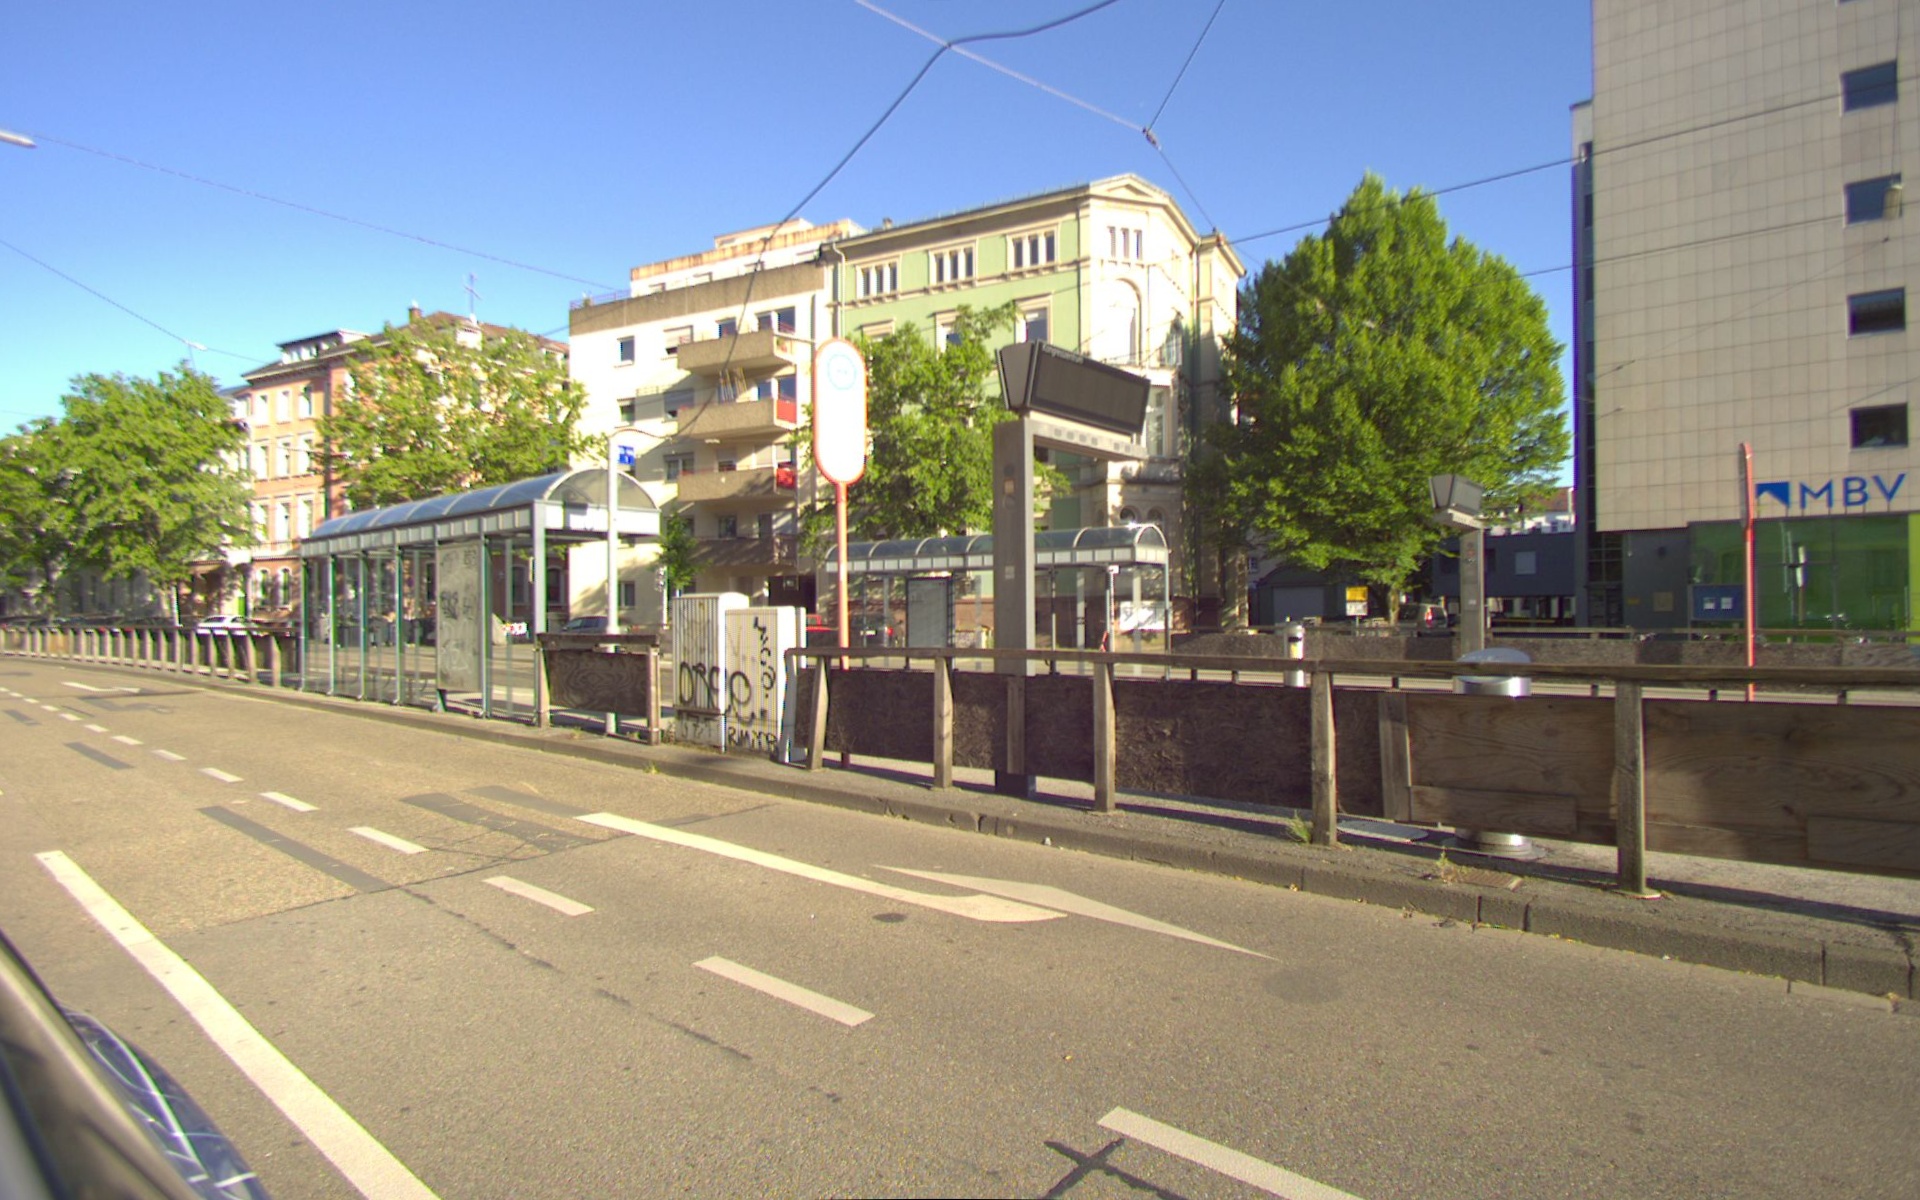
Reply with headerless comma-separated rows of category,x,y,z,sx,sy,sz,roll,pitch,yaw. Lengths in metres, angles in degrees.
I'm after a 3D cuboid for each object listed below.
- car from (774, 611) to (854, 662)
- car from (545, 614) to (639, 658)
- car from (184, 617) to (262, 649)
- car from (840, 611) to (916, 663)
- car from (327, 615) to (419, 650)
car,-4.928,1.212,34.568,1.614,1.579,3.588,-1,0,11
car,-14.040,1.330,38.520,3.592,1.579,1.612,-1,0,35
car,-39.406,1.735,54.215,1.607,1.579,3.601,-1,0,-2
car,-2.655,1.183,33.372,1.614,1.579,3.588,-1,0,11
car,-28.406,1.555,49.057,1.626,1.579,3.560,-1,0,33
